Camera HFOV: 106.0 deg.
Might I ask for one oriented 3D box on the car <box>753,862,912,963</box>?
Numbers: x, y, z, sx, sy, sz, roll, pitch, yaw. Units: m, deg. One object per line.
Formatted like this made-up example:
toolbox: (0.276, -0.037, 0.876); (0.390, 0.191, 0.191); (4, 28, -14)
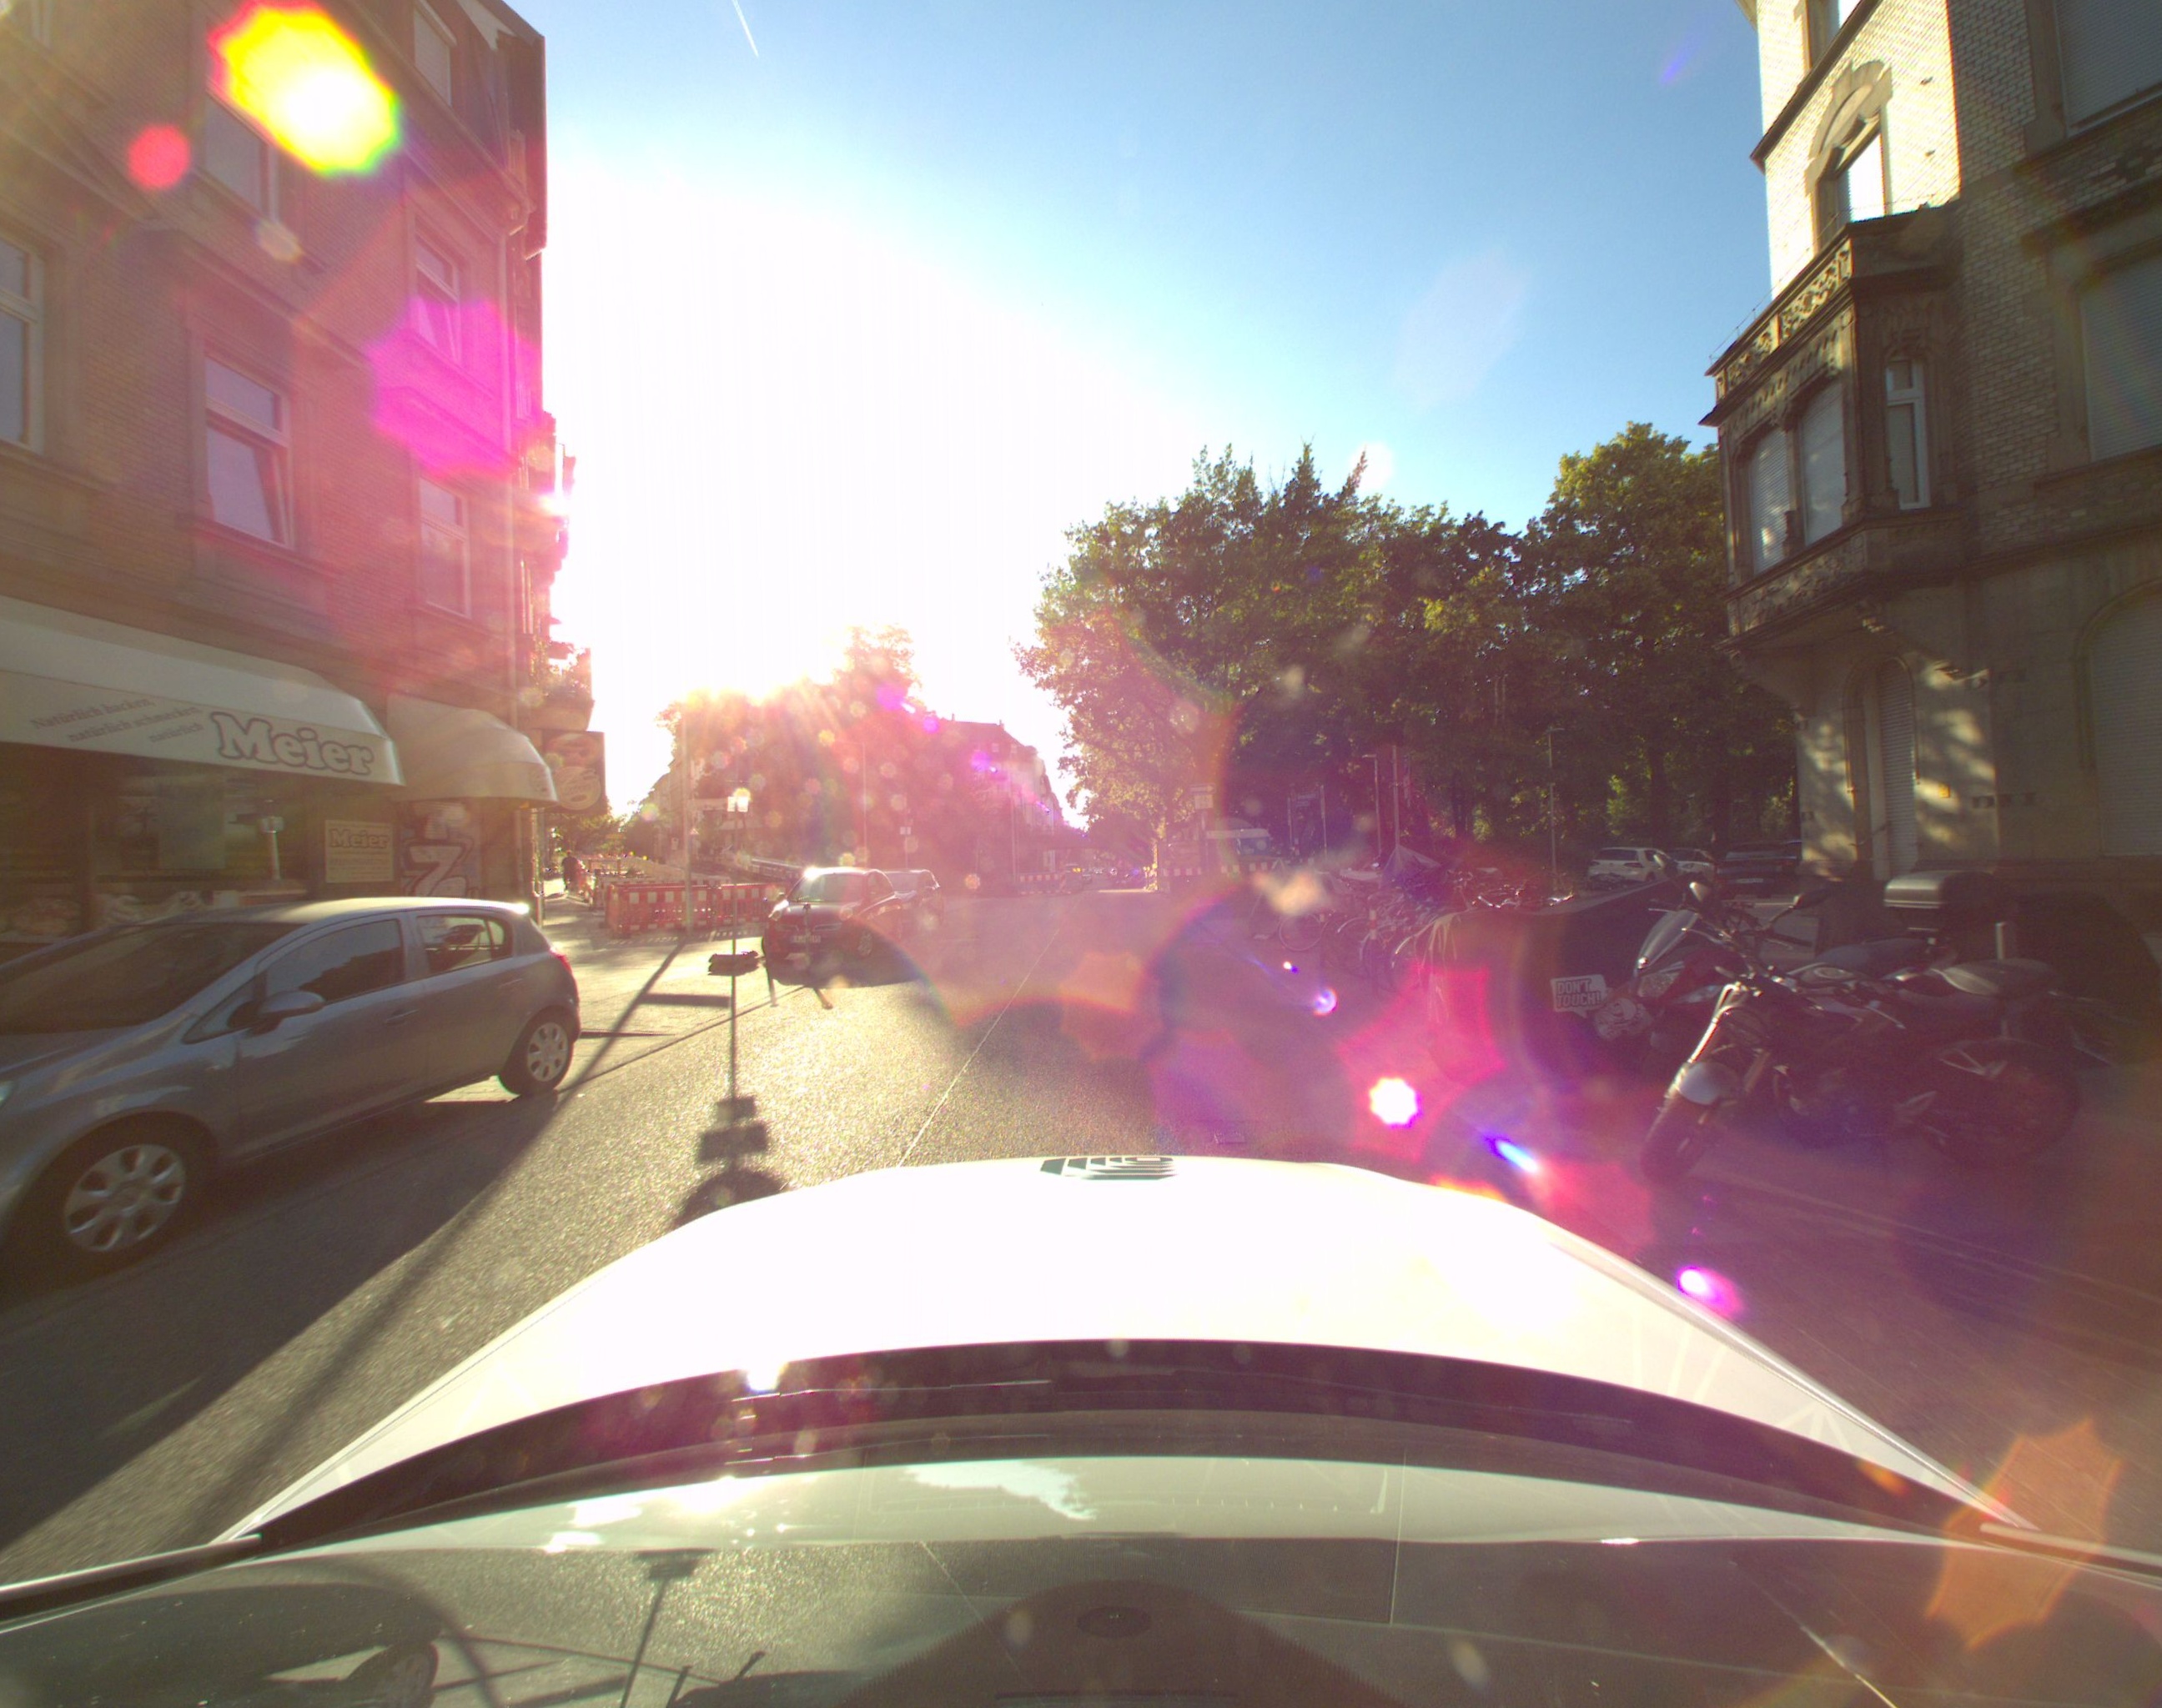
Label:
car: (-4.376, 0.956, 14.990); (1.664, 1.530, 3.999); (-2, 0, 0)

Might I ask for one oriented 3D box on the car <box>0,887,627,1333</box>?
car: (-4.650, 0.998, 4.656); (1.718, 1.437, 3.998); (0, 0, 2)

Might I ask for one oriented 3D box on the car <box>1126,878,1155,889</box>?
car: (9.028, 4.494, 123.679); (4.371, 1.610, 1.781); (-1, -4, 1)

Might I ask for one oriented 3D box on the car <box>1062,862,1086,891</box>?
car: (-0.649, 2.130, 74.893); (2.041, 2.498, 5.694); (-1, -3, 0)

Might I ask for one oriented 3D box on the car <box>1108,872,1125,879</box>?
car: (8.846, 5.300, 203.343); (4.371, 1.610, 1.781); (-1, -4, 1)

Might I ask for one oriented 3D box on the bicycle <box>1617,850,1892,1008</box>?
bicycle: (5.858, 0.621, 7.138); (1.920, 1.246, 0.647); (-2, 0, -4)

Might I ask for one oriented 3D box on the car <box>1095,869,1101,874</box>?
car: (5.274, 5.436, 248.991); (1.806, 1.398, 3.975); (-4, -3, 1)

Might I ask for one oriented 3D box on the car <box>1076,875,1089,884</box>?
car: (0.258, 4.119, 131.688); (1.806, 1.398, 3.975); (-4, -3, 1)

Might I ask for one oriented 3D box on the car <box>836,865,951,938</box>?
car: (-4.329, 1.048, 19.443); (1.663, 1.458, 4.001); (-2, 0, 2)

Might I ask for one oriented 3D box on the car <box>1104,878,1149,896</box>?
car: (4.513, 3.309, 80.893); (4.374, 1.702, 1.915); (-1, -4, -1)

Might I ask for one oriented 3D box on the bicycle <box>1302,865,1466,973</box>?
bicycle: (3.752, 0.789, 10.109); (1.920, 1.246, 0.302); (-2, 0, -4)

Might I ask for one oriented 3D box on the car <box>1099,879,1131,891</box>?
car: (4.799, 4.473, 115.704); (4.374, 1.610, 1.780); (-1, -4, -1)

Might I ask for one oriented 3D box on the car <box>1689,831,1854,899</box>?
car: (16.813, 0.307, 19.780); (4.384, 1.378, 1.977); (1, -6, -36)

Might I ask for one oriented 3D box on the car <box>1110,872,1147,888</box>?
car: (5.842, 3.215, 100.117); (4.374, 1.785, 1.915); (-1, -4, -1)

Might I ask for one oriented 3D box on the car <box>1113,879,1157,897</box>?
car: (5.548, 3.501, 84.130); (4.374, 1.702, 1.915); (-1, -4, -1)

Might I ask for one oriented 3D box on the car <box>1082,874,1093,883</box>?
car: (1.187, 4.254, 141.812); (1.806, 1.398, 3.975); (-4, -3, 1)

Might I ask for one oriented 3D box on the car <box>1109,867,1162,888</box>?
car: (4.701, 2.086, 70.648); (4.374, 1.702, 1.915); (-1, -4, -1)

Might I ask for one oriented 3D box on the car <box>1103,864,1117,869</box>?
car: (9.207, 3.949, 255.198); (4.371, 1.610, 1.781); (-1, -4, 1)

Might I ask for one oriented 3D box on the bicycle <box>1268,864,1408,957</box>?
bicycle: (3.720, 0.809, 11.804); (1.920, 1.246, 0.302); (-2, 0, -4)

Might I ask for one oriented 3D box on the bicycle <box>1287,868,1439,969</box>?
bicycle: (3.733, 0.839, 10.792); (1.902, 1.246, 0.302); (-2, 0, -4)

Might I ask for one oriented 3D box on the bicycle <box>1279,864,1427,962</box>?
bicycle: (3.713, 0.796, 11.131); (1.920, 1.246, 0.302); (-2, 0, -4)

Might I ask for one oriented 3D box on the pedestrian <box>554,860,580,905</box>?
pedestrian: (-23.383, 1.279, 37.029); (0.946, 2.013, 0.949); (-2, 0, -32)

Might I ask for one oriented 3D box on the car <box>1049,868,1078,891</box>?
car: (-1.129, 1.741, 55.066); (1.709, 1.418, 4.106); (-4, -3, 1)

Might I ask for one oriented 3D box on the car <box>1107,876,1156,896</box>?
car: (4.638, 2.965, 75.648); (4.374, 1.702, 1.915); (-1, -4, -1)

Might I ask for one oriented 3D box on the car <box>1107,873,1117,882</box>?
car: (5.605, 4.306, 147.922); (1.768, 1.609, 4.403); (-2, -2, 2)

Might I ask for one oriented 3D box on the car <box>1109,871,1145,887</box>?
car: (5.791, 3.119, 101.977); (4.374, 1.862, 1.915); (-1, -4, -1)

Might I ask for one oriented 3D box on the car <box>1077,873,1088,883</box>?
car: (0.283, 4.019, 136.724); (1.806, 1.398, 3.975); (-4, -3, 1)

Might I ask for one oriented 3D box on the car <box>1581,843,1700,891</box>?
car: (18.305, 0.423, 26.591); (4.016, 1.413, 1.861); (2, 1, -35)

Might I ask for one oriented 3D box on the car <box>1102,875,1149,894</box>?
car: (4.228, 2.940, 77.822); (4.374, 1.702, 1.915); (-1, -4, -1)

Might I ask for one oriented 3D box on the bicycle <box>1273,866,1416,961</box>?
bicycle: (3.705, 0.821, 11.473); (1.920, 1.246, 0.302); (-2, 0, -4)

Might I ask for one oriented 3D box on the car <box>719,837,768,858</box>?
car: (-33.831, -0.671, 81.682); (4.384, 2.013, 1.921); (-1, 0, -21)

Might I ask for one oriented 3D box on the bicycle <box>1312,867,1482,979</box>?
bicycle: (3.781, 0.809, 9.769); (1.920, 1.246, 0.302); (-2, 0, -4)

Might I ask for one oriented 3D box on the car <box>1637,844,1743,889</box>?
car: (22.013, 0.458, 29.391); (4.016, 1.463, 1.861); (2, 1, -35)

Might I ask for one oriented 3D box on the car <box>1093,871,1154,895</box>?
car: (3.103, 2.153, 59.904); (4.374, 1.702, 1.915); (-1, -4, -1)

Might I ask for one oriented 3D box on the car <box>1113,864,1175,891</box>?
car: (4.970, 1.876, 64.440); (4.729, 1.997, 1.915); (-1, -4, -2)

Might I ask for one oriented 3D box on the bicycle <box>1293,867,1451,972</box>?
bicycle: (3.724, 0.831, 10.450); (1.920, 1.246, 0.302); (-2, 0, -4)
